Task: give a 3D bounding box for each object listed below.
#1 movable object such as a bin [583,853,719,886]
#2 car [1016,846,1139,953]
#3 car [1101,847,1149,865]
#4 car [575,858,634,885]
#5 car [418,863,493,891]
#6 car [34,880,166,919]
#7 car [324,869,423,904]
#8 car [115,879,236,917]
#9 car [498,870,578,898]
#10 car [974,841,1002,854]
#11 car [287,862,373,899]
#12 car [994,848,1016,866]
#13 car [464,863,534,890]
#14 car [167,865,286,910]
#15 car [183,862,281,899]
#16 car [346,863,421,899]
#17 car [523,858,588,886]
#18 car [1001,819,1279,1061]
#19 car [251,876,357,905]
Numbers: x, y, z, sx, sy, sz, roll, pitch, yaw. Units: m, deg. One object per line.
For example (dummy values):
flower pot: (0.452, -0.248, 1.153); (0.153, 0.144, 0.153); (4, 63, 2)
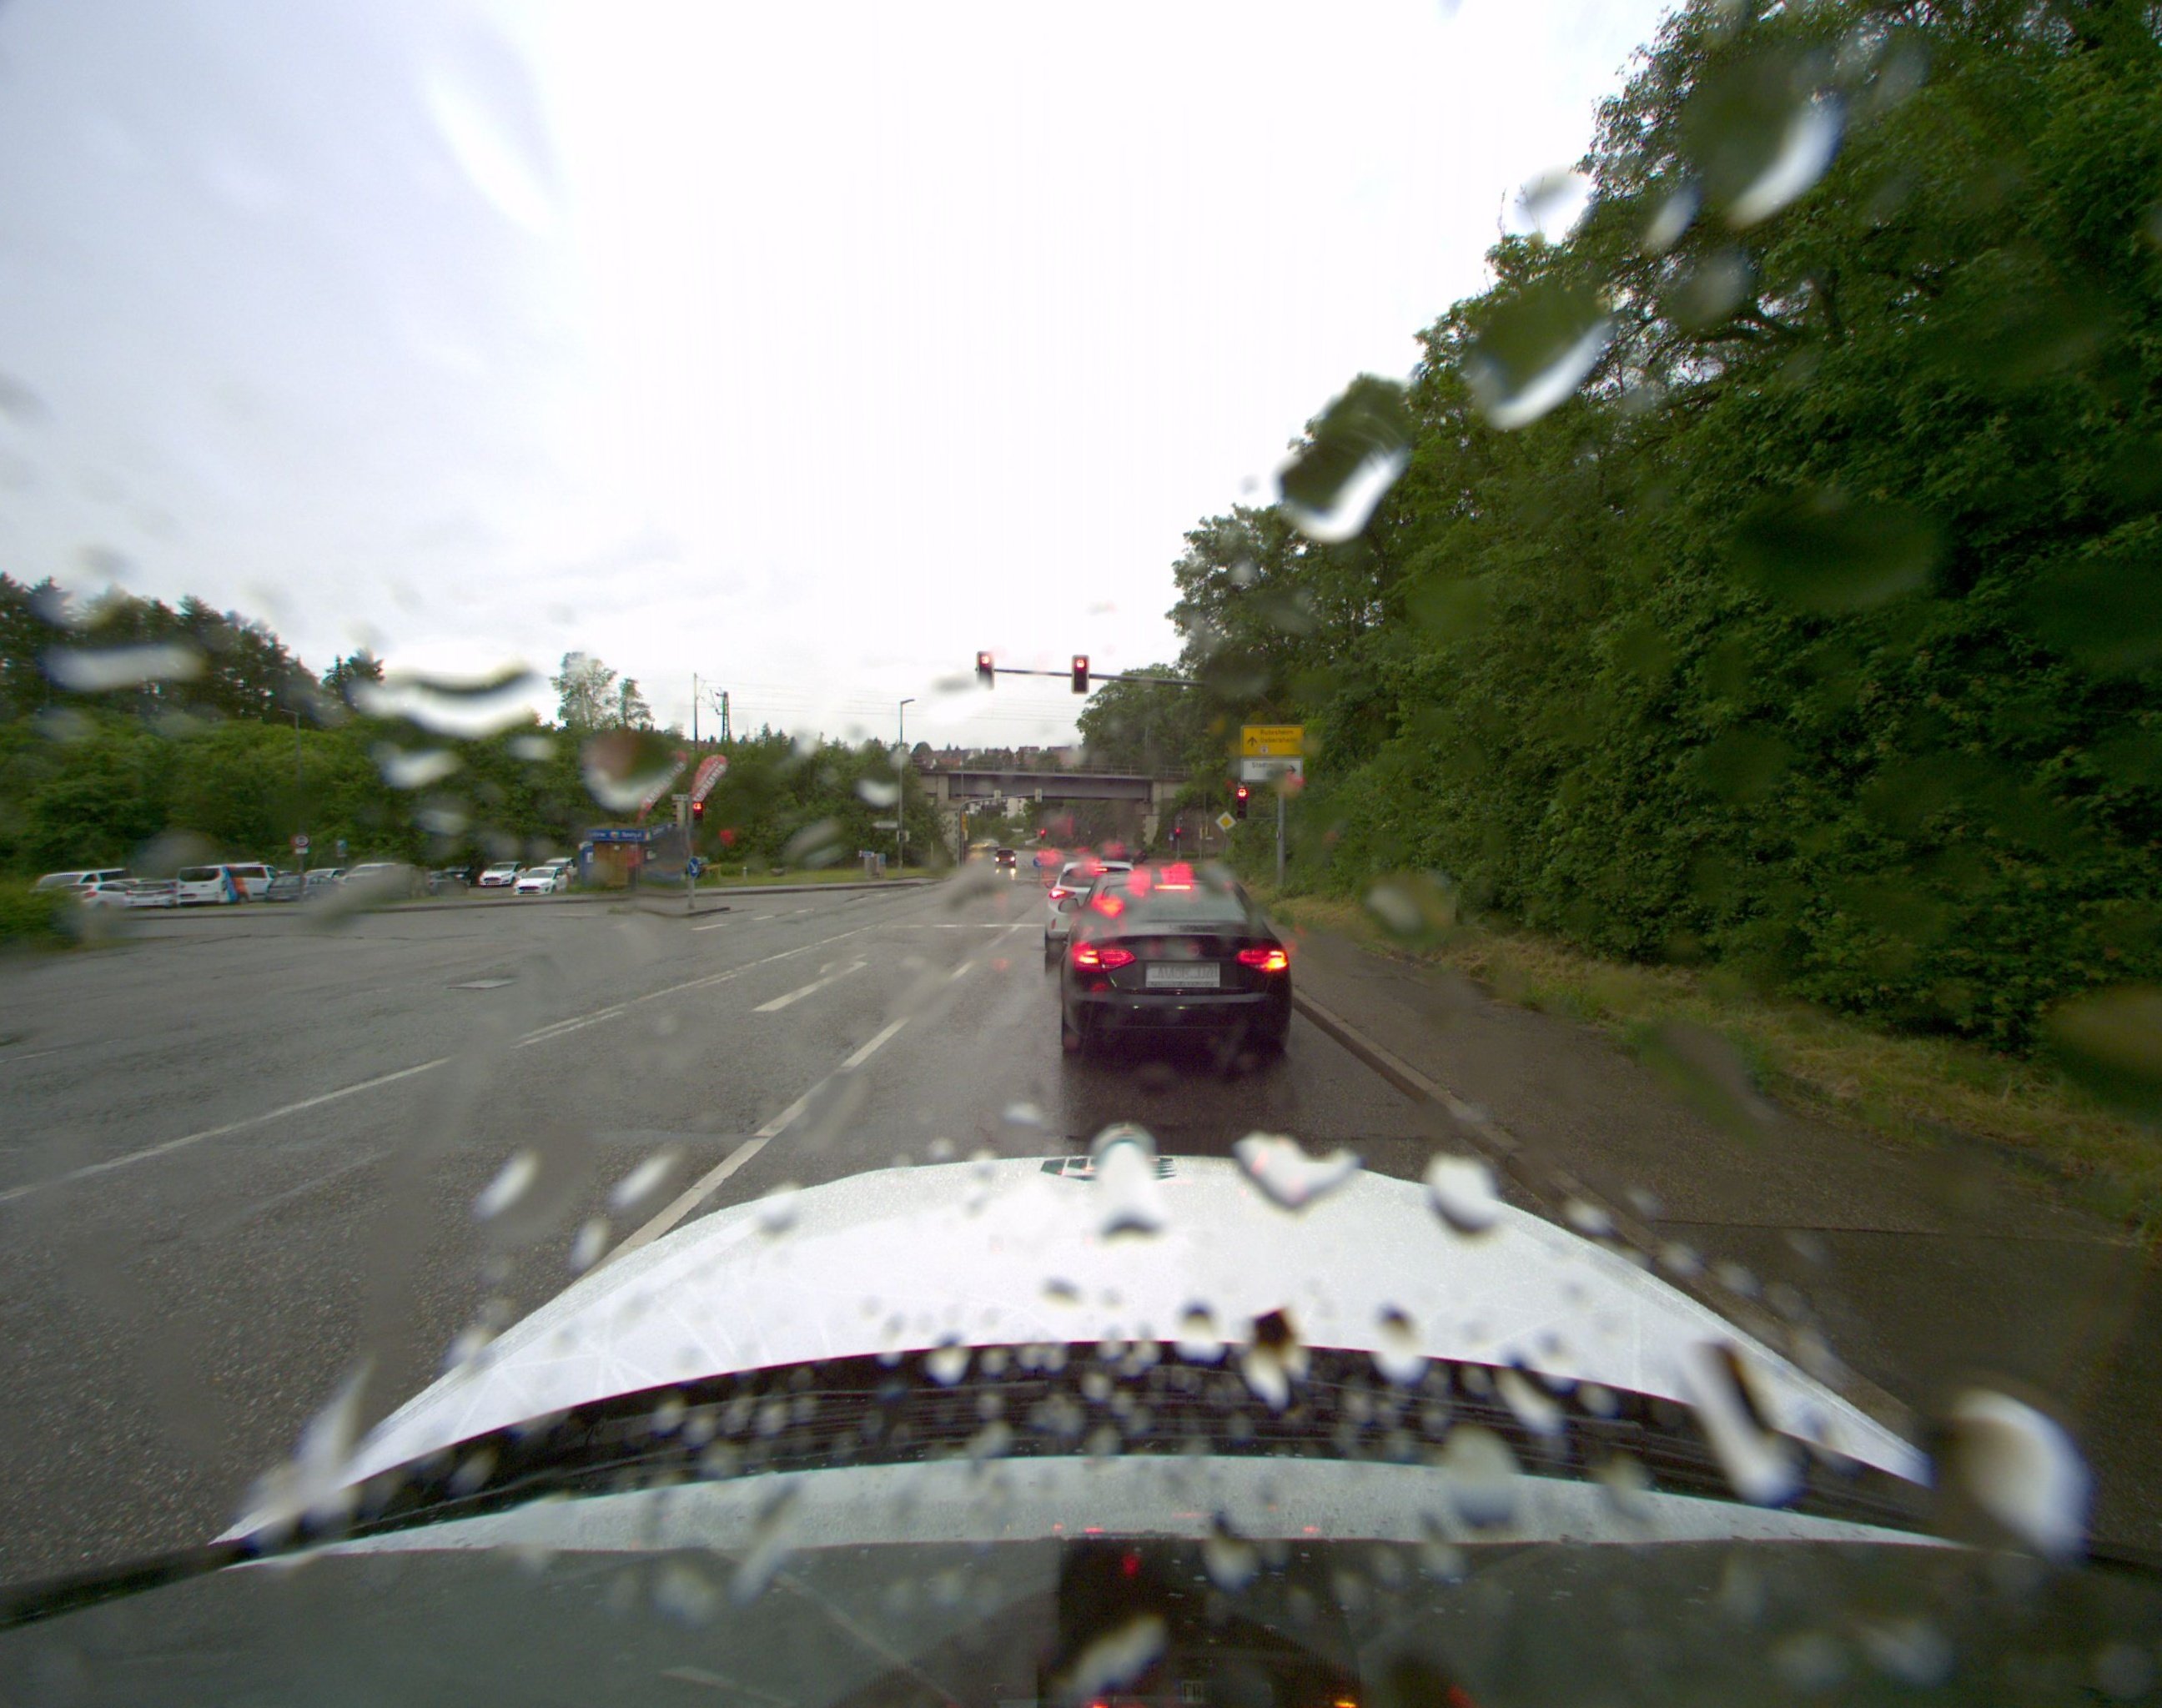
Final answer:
movable object such as a bin: (-22.692, 0.782, 43.185); (2.716, 1.628, 5.816); (-2, -1, 41)
car: (0.002, 0.717, 14.165); (1.816, 1.585, 4.001); (-1, -1, 2)
car: (4.040, 0.203, 74.788); (3.948, 1.596, 2.013); (-1, 0, 40)
car: (-30.389, 1.086, 52.109); (1.994, 1.585, 3.985); (-2, 0, -11)
car: (-37.962, 1.375, 49.545); (1.994, 1.585, 3.984); (0, -1, -11)
car: (-44.375, 2.023, 36.976); (1.837, 1.585, 3.978); (0, -1, -16)
car: (-34.639, 1.563, 40.024); (1.937, 1.585, 3.892); (0, -1, -11)
car: (-41.741, 1.984, 37.684); (1.858, 1.585, 3.978); (0, -1, -16)
car: (-27.766, 1.513, 41.831); (1.652, 1.340, 4.883); (0, -1, -11)
car: (-13.456, -0.943, 117.854); (1.820, 1.742, 4.427); (0, -2, -40)
car: (-44.782, 1.537, 48.683); (1.995, 2.013, 3.983); (-2, 0, -12)
car: (-6.995, 0.259, 75.238); (1.990, 1.628, 3.993); (-1, 0, -5)
car: (-35.476, 1.349, 49.801); (1.994, 1.585, 3.984); (0, -1, -11)
car: (-39.455, 1.509, 37.763); (1.997, 1.949, 3.978); (0, -1, -16)
car: (-49.389, 1.491, 47.496); (1.995, 2.014, 3.983); (0, 0, -12)
car: (-42.182, 1.605, 49.361); (1.941, 2.013, 3.849); (0, 0, -15)
car: (-32.625, 1.087, 50.706); (1.994, 1.585, 3.985); (-2, 0, -11)
car: (0.458, 0.620, 7.528); (1.863, 1.617, 4.001); (-1, -1, 2)
car: (-37.176, 1.715, 39.106); (1.751, 1.310, 3.984); (0, -1, -11)
